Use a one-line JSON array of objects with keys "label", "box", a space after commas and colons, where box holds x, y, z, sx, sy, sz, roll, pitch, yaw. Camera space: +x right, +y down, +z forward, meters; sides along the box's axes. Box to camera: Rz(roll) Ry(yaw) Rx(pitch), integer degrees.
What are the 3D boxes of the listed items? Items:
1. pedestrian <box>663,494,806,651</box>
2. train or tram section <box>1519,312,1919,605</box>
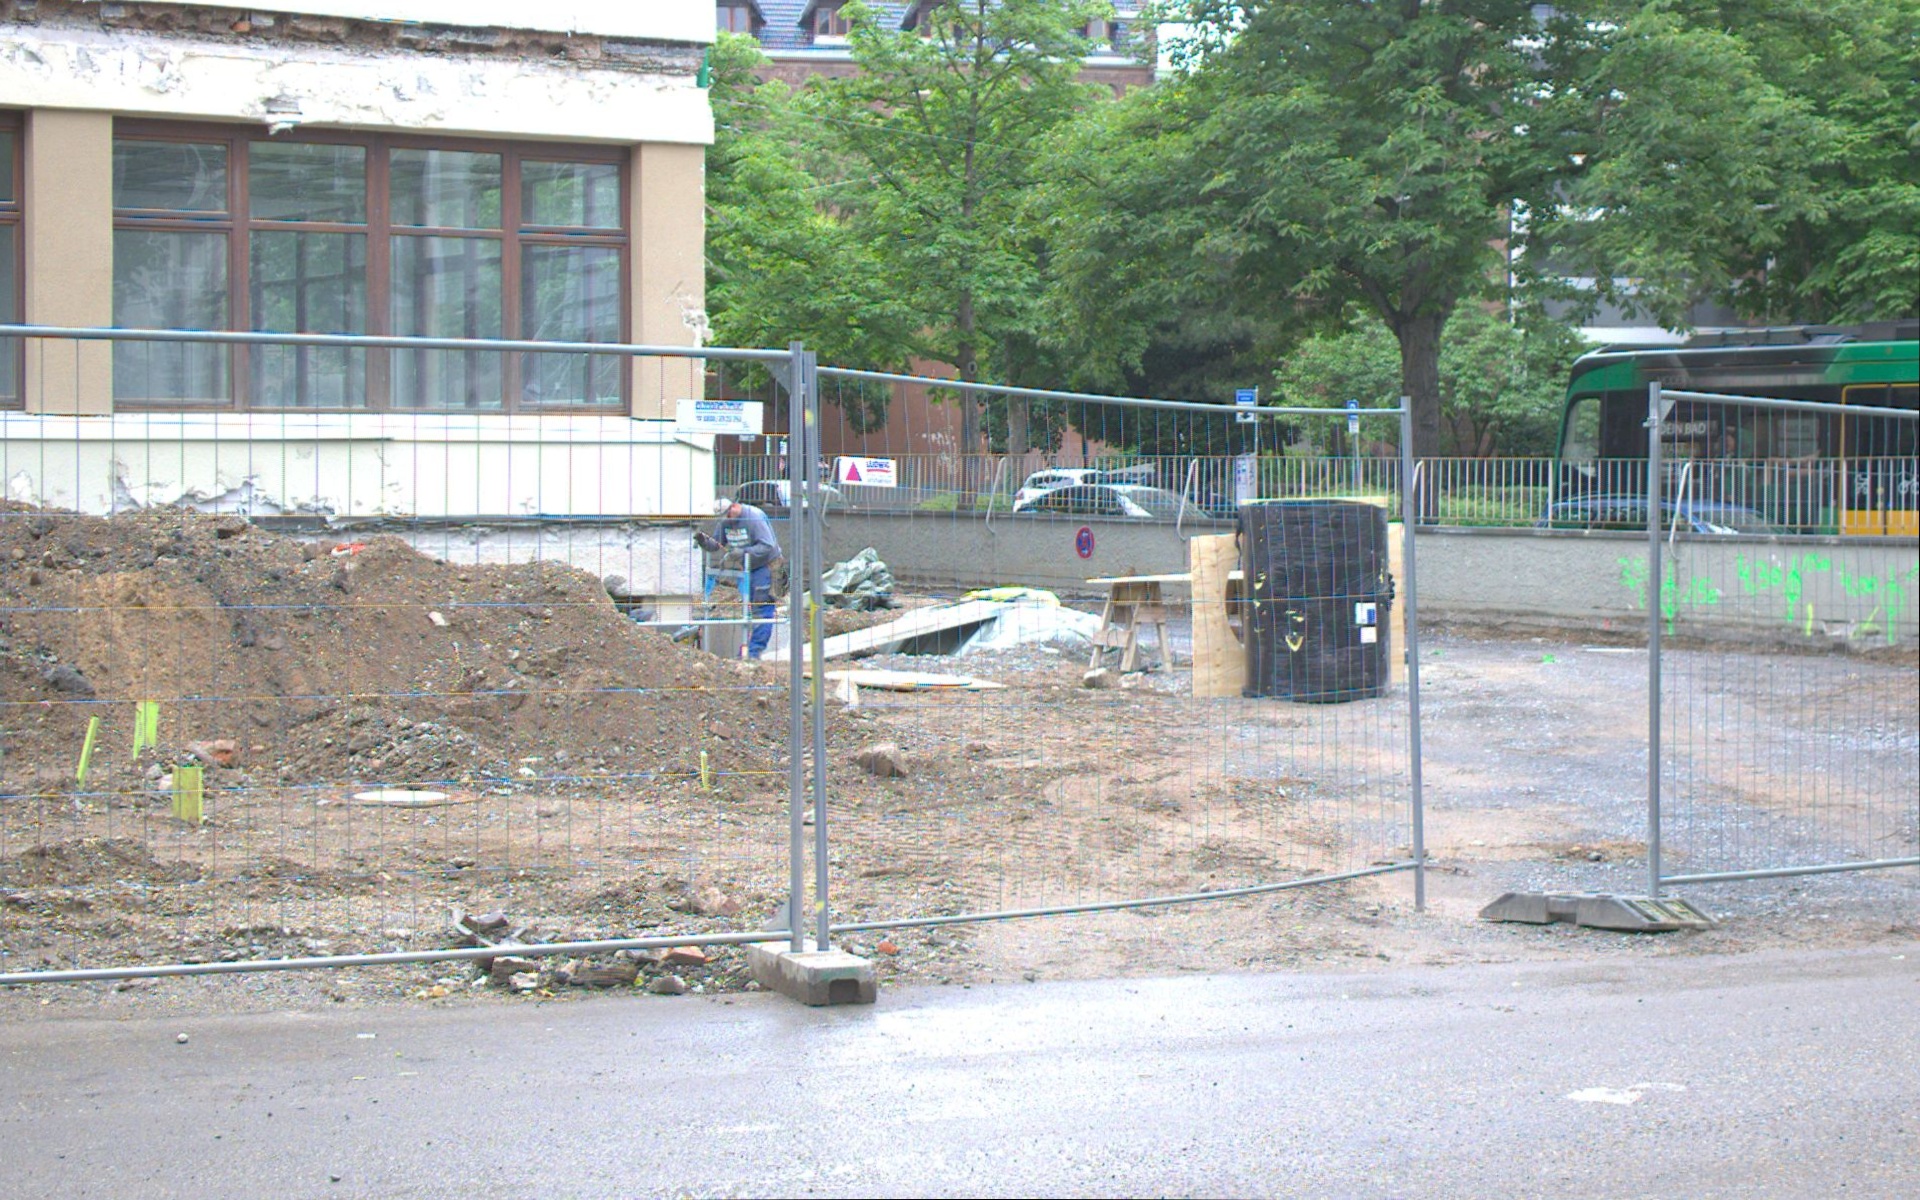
[{"label": "pedestrian", "box": [-2.106, -0.268, 32.100, 0.980, 1.432, 0.930, -1, 2, -37]}, {"label": "train or tram section", "box": [12.413, -1.795, 43.845, 2.660, 3.601, 12.457, -1, 2, -34]}]
